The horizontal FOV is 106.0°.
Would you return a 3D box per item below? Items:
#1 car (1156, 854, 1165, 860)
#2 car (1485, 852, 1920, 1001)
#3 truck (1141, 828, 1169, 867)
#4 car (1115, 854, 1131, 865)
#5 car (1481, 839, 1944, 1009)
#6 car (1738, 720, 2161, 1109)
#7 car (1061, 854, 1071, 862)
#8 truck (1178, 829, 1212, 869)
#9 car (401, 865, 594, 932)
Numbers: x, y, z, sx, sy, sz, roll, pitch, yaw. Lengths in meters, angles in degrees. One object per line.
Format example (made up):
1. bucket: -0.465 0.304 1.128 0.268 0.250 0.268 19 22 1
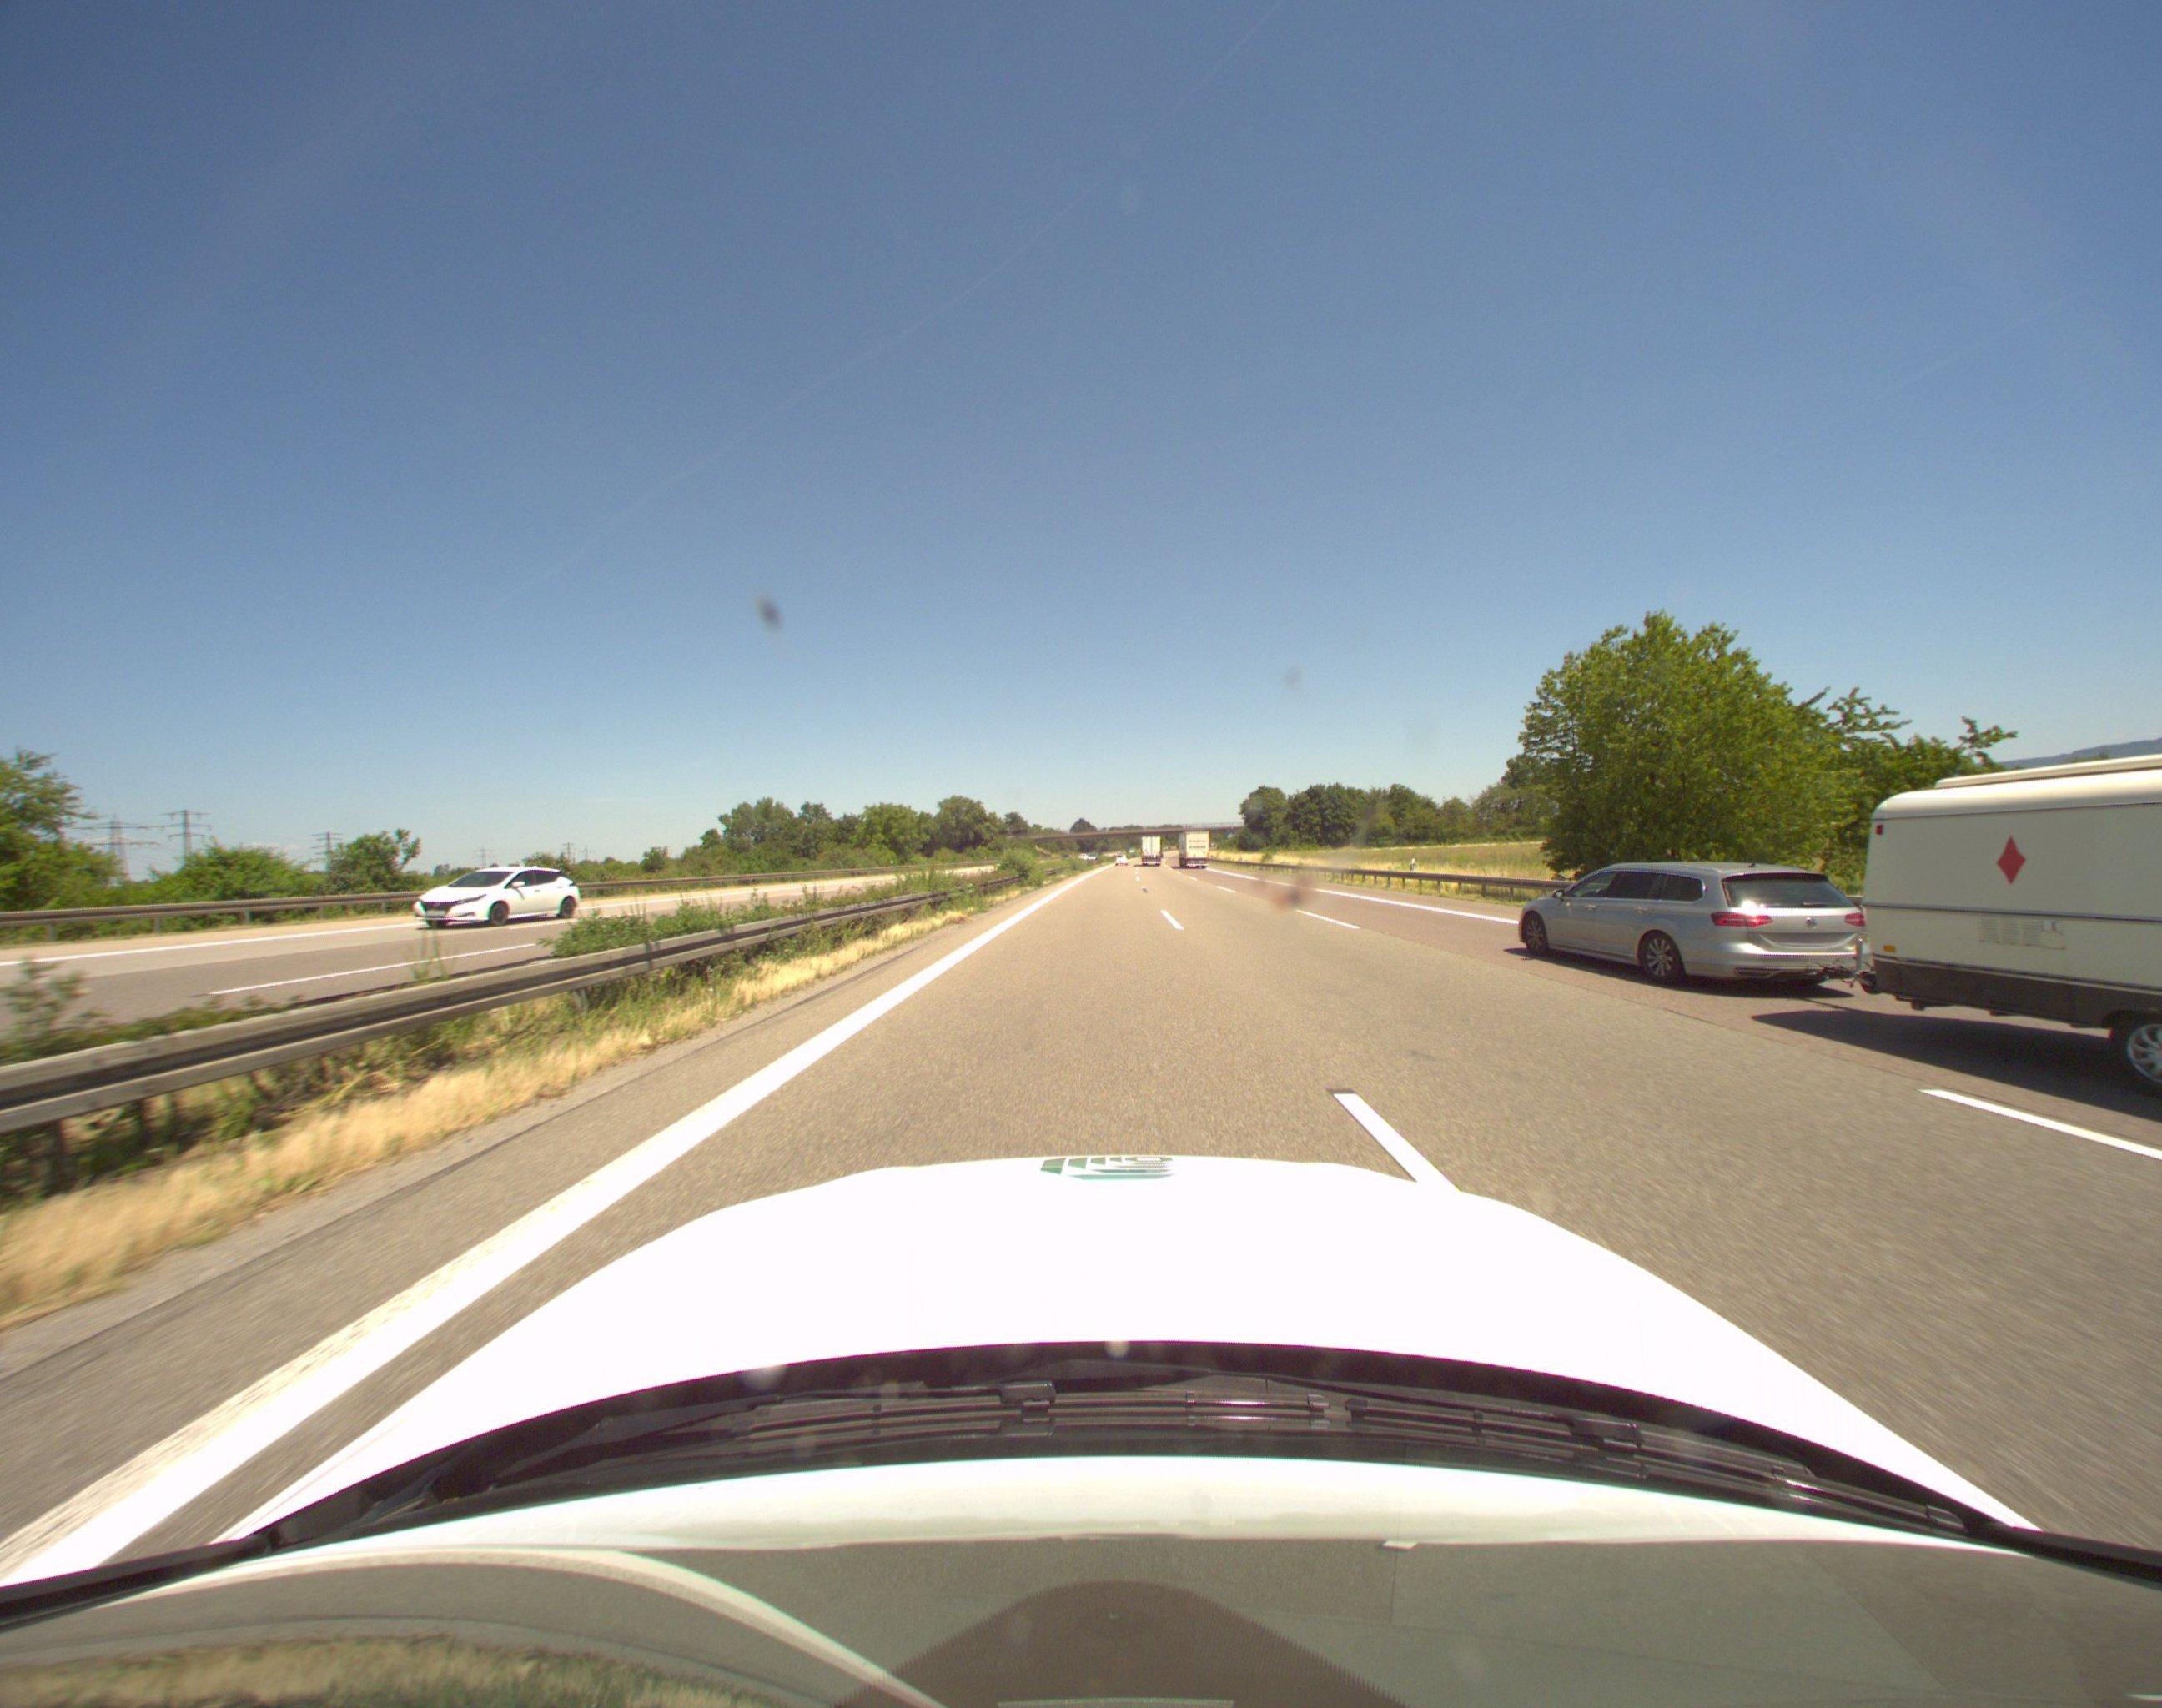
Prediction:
1. car: 20.543 0.666 210.300 1.817 1.547 4.330 0 0 9
2. car: 7.704 0.737 11.034 1.880 1.515 5.380 0 0 1
3. truck: 10.275 -0.998 113.840 3.649 5.018 16.039 -1 1 5
4. car: 6.047 0.789 117.175 1.817 1.547 4.330 0 0 9
5. car: 7.739 0.658 10.984 2.037 1.658 5.511 -2 1 1
6. car: 7.672 0.312 5.383 2.433 2.321 5.324 -2 1 1
7. car: -3.399 0.870 184.403 1.775 1.661 4.662 -1 0 3
8. truck: 13.275 -0.649 96.049 3.166 4.304 16.041 -1 1 5
9. car: -16.007 1.144 22.733 1.740 1.540 4.830 0 0 2
